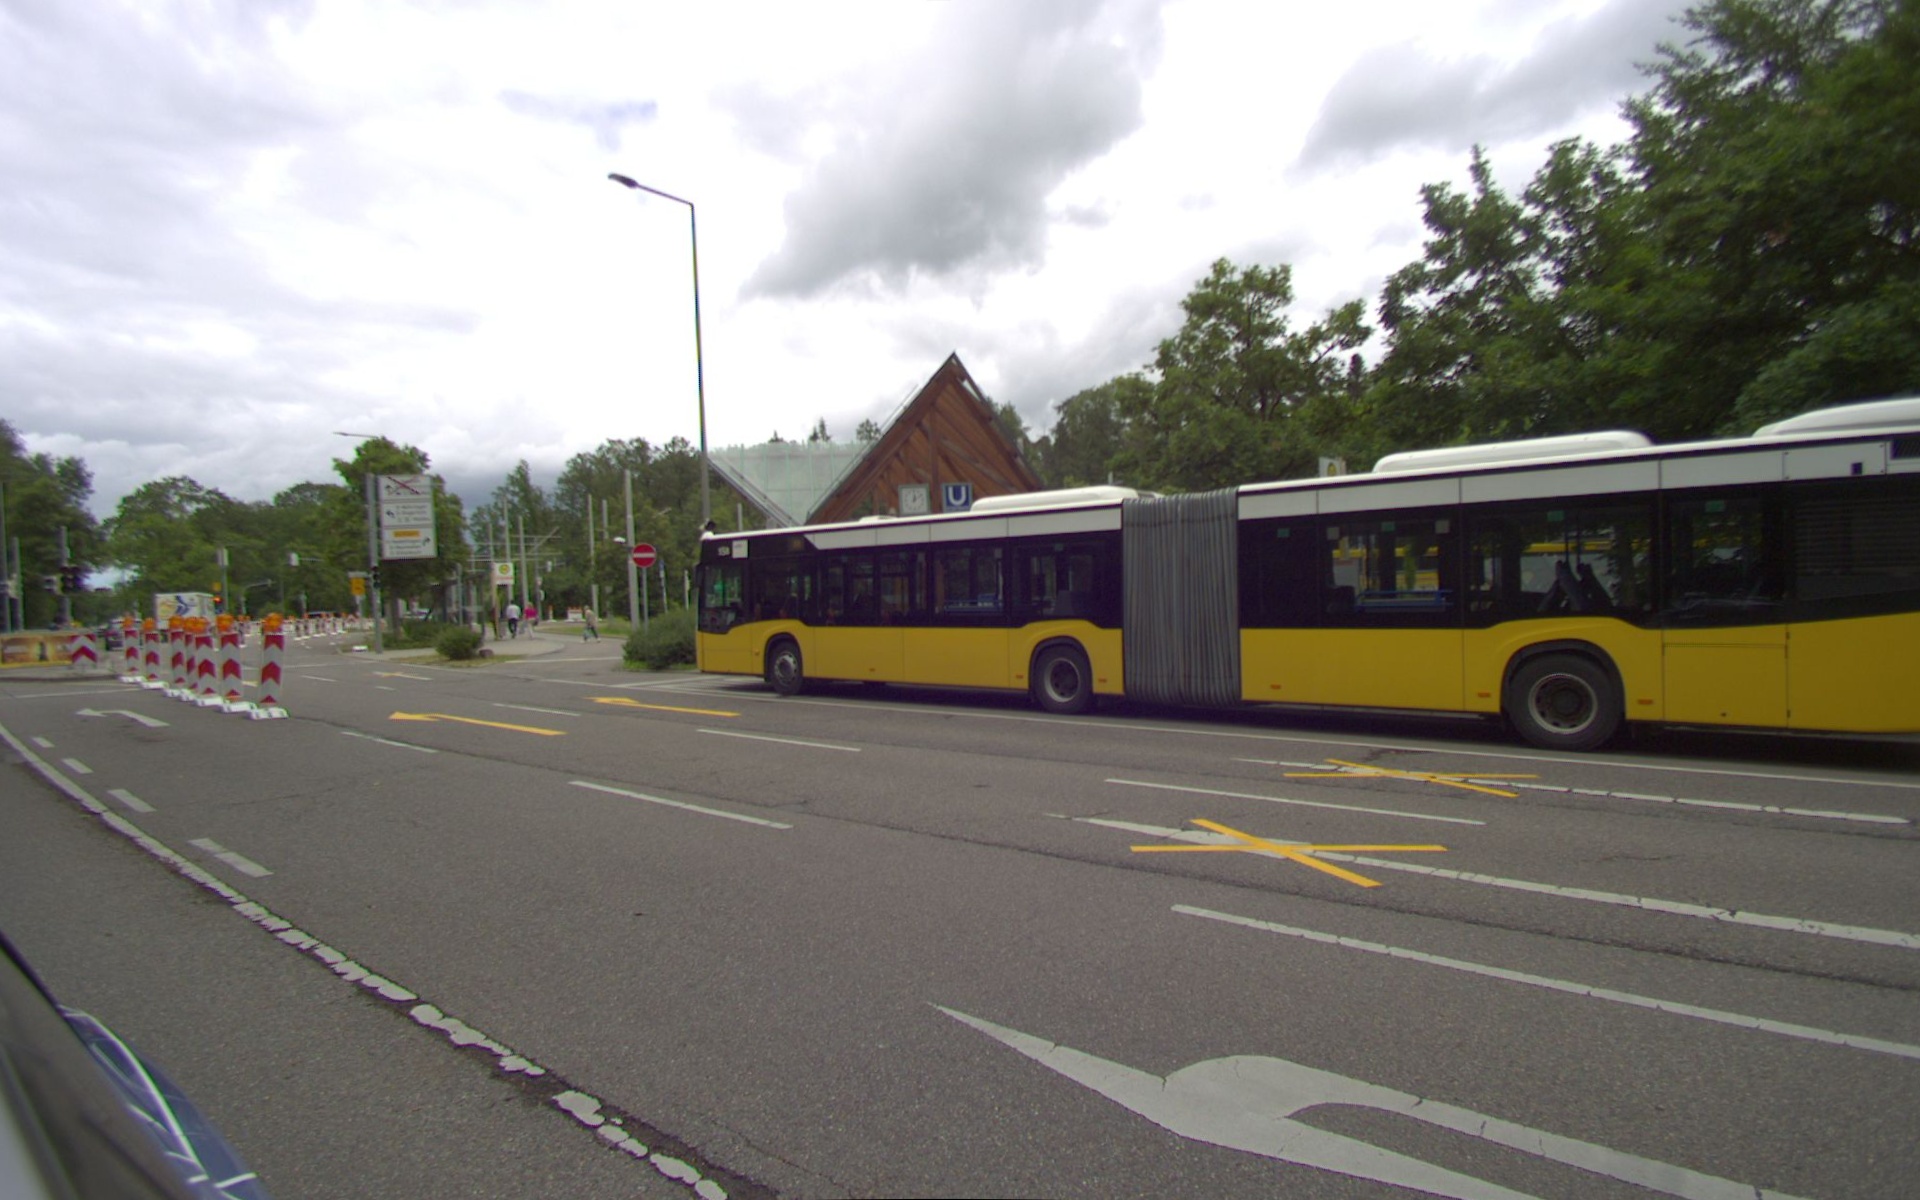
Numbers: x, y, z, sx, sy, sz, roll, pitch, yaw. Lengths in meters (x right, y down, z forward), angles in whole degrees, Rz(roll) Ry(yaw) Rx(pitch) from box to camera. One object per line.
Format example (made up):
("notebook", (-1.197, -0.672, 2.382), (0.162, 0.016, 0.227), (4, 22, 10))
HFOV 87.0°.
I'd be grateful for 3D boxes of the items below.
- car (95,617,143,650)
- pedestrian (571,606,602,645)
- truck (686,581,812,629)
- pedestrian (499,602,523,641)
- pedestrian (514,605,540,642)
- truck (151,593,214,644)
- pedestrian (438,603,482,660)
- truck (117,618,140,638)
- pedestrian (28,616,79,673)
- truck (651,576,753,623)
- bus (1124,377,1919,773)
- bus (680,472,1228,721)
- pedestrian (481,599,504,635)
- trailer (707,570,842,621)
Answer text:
("car", (-42.193, 1.651, 50.747), (1.785, 1.520, 4.314), (0, 0, -41))
("pedestrian", (-15.318, 1.055, 41.512), (0.871, 1.536, 0.761), (-3, 1, 26))
("truck", (-11.463, 0.281, 54.991), (6.261, 2.186, 2.588), (-3, 1, 23))
("pedestrian", (-20.117, 0.974, 45.320), (0.675, 1.678, 0.871), (-4, 1, -42))
("pedestrian", (-18.877, 1.020, 44.129), (0.779, 1.563, 0.777), (-4, 1, -39))
("truck", (-52.912, 1.260, 69.012), (2.592, 3.263, 6.225), (0, -1, -30))
("pedestrian", (-16.678, 1.031, 33.760), (0.980, 1.822, 0.766), (-3, 1, -1))
("truck", (-146.838, 4.949, 178.766), (2.704, 3.235, 6.688), (-4, 1, -37))
("pedestrian", (-27.936, 1.352, 31.206), (1.076, 1.689, 0.913), (-1, 0, -39))
("truck", (-24.273, -0.035, 95.211), (8.712, 3.910, 3.761), (-3, 1, 22))
("bus", (6.318, -0.148, 11.089), (8.688, 3.150, 2.869), (-2, -1, 41))
("bus", (-0.668, 0.041, 17.104), (9.753, 3.150, 2.869), (-2, -1, 41))
("pedestrian", (-21.216, 0.752, 45.899), (0.764, 1.557, 0.630), (-4, 2, -37))
("trailer", (-16.923, -0.429, 92.158), (11.788, 3.910, 3.761), (-3, 1, 22))
